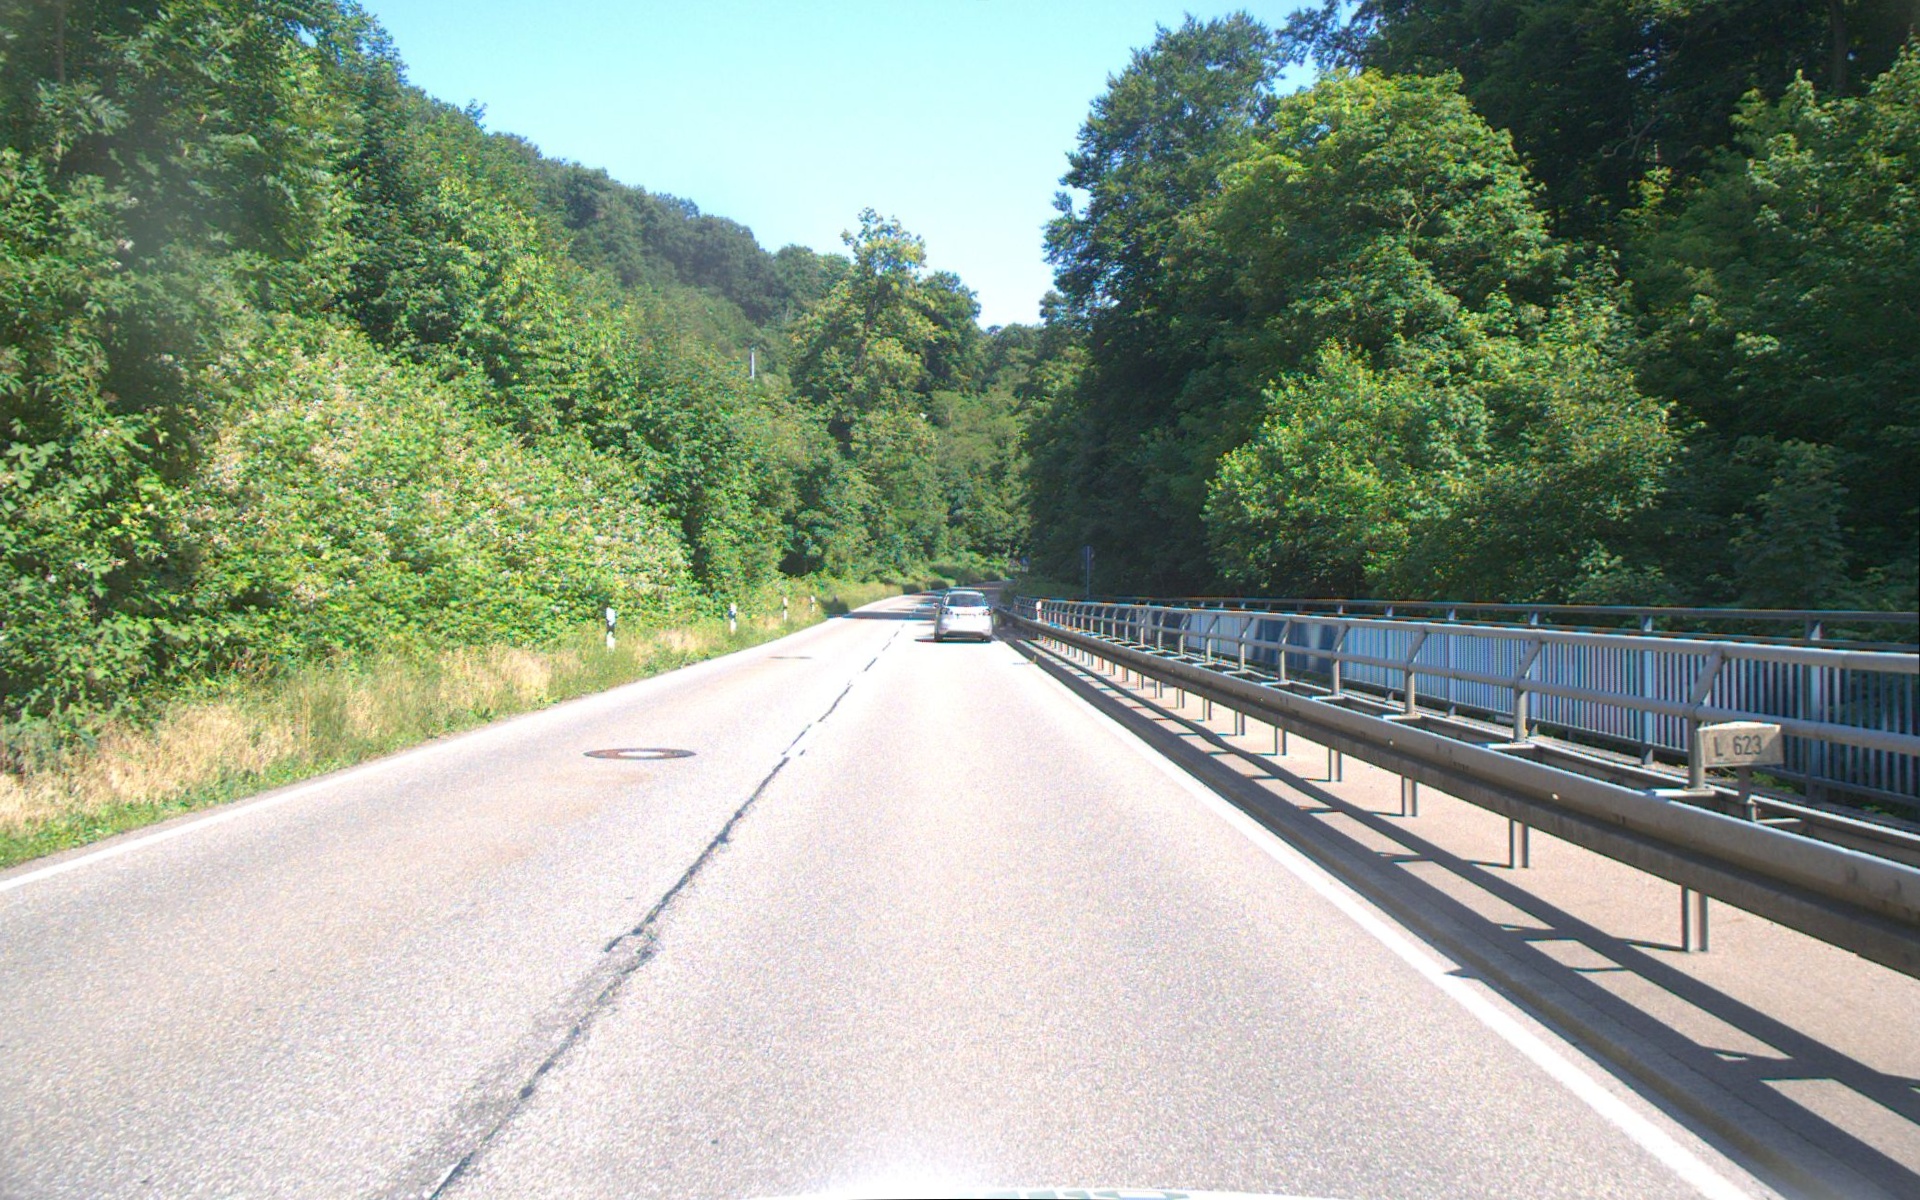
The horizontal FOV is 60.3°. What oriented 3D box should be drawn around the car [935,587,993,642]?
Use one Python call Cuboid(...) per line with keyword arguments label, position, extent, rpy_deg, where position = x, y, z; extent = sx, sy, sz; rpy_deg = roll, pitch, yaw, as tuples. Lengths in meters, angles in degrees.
Cuboid(label="car", position=(0.087, 0.410, 51.742), extent=(1.716, 1.546, 4.159), rpy_deg=(1, 1, -1))
